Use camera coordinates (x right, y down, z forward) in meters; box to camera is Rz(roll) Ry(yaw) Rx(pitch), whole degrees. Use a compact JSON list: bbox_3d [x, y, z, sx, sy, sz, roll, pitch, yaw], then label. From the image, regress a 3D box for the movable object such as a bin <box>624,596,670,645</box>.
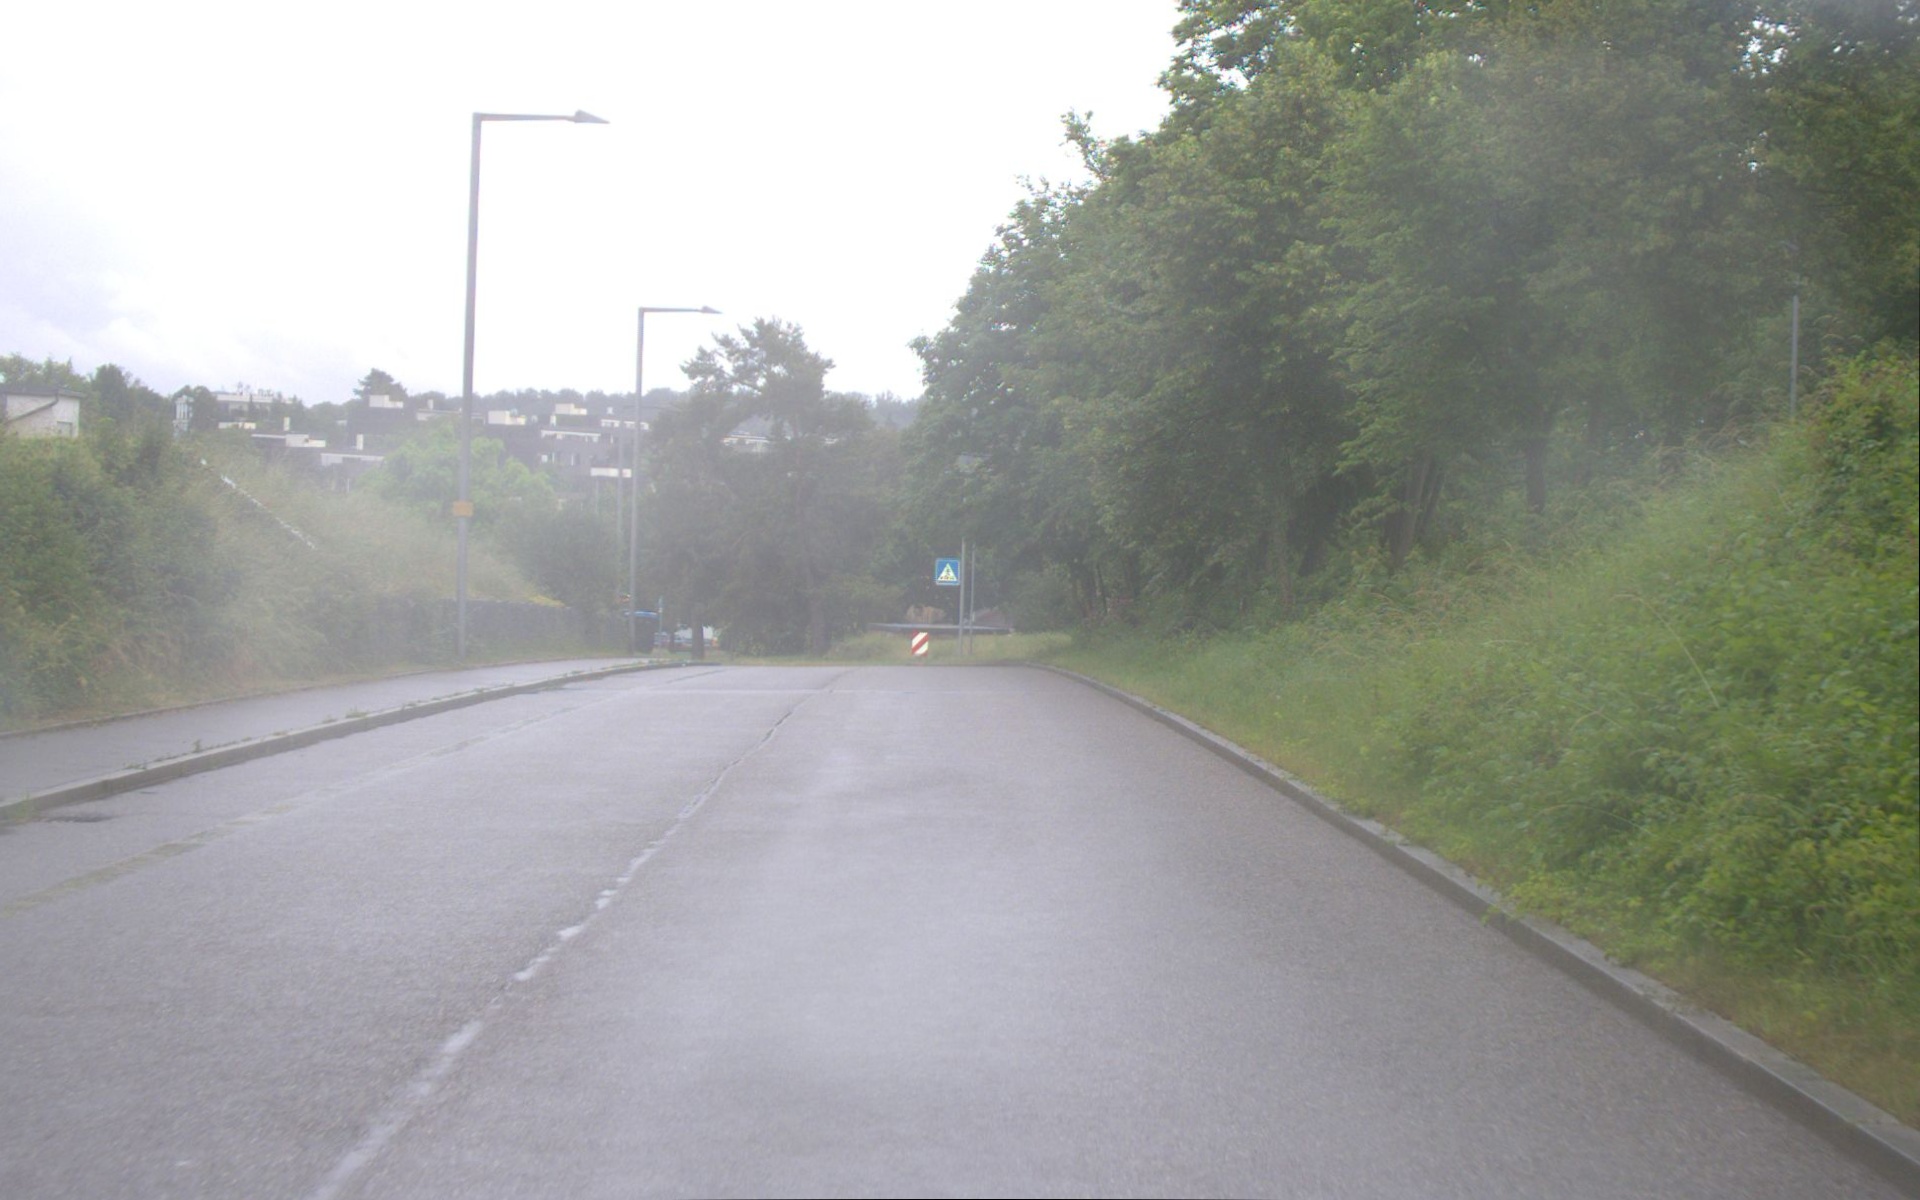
[{"bbox_3d":[-9.087,0.604,99.662,1.131,1.335,1.399,4,-1,-10],"label":"movable object such as a bin"}]
